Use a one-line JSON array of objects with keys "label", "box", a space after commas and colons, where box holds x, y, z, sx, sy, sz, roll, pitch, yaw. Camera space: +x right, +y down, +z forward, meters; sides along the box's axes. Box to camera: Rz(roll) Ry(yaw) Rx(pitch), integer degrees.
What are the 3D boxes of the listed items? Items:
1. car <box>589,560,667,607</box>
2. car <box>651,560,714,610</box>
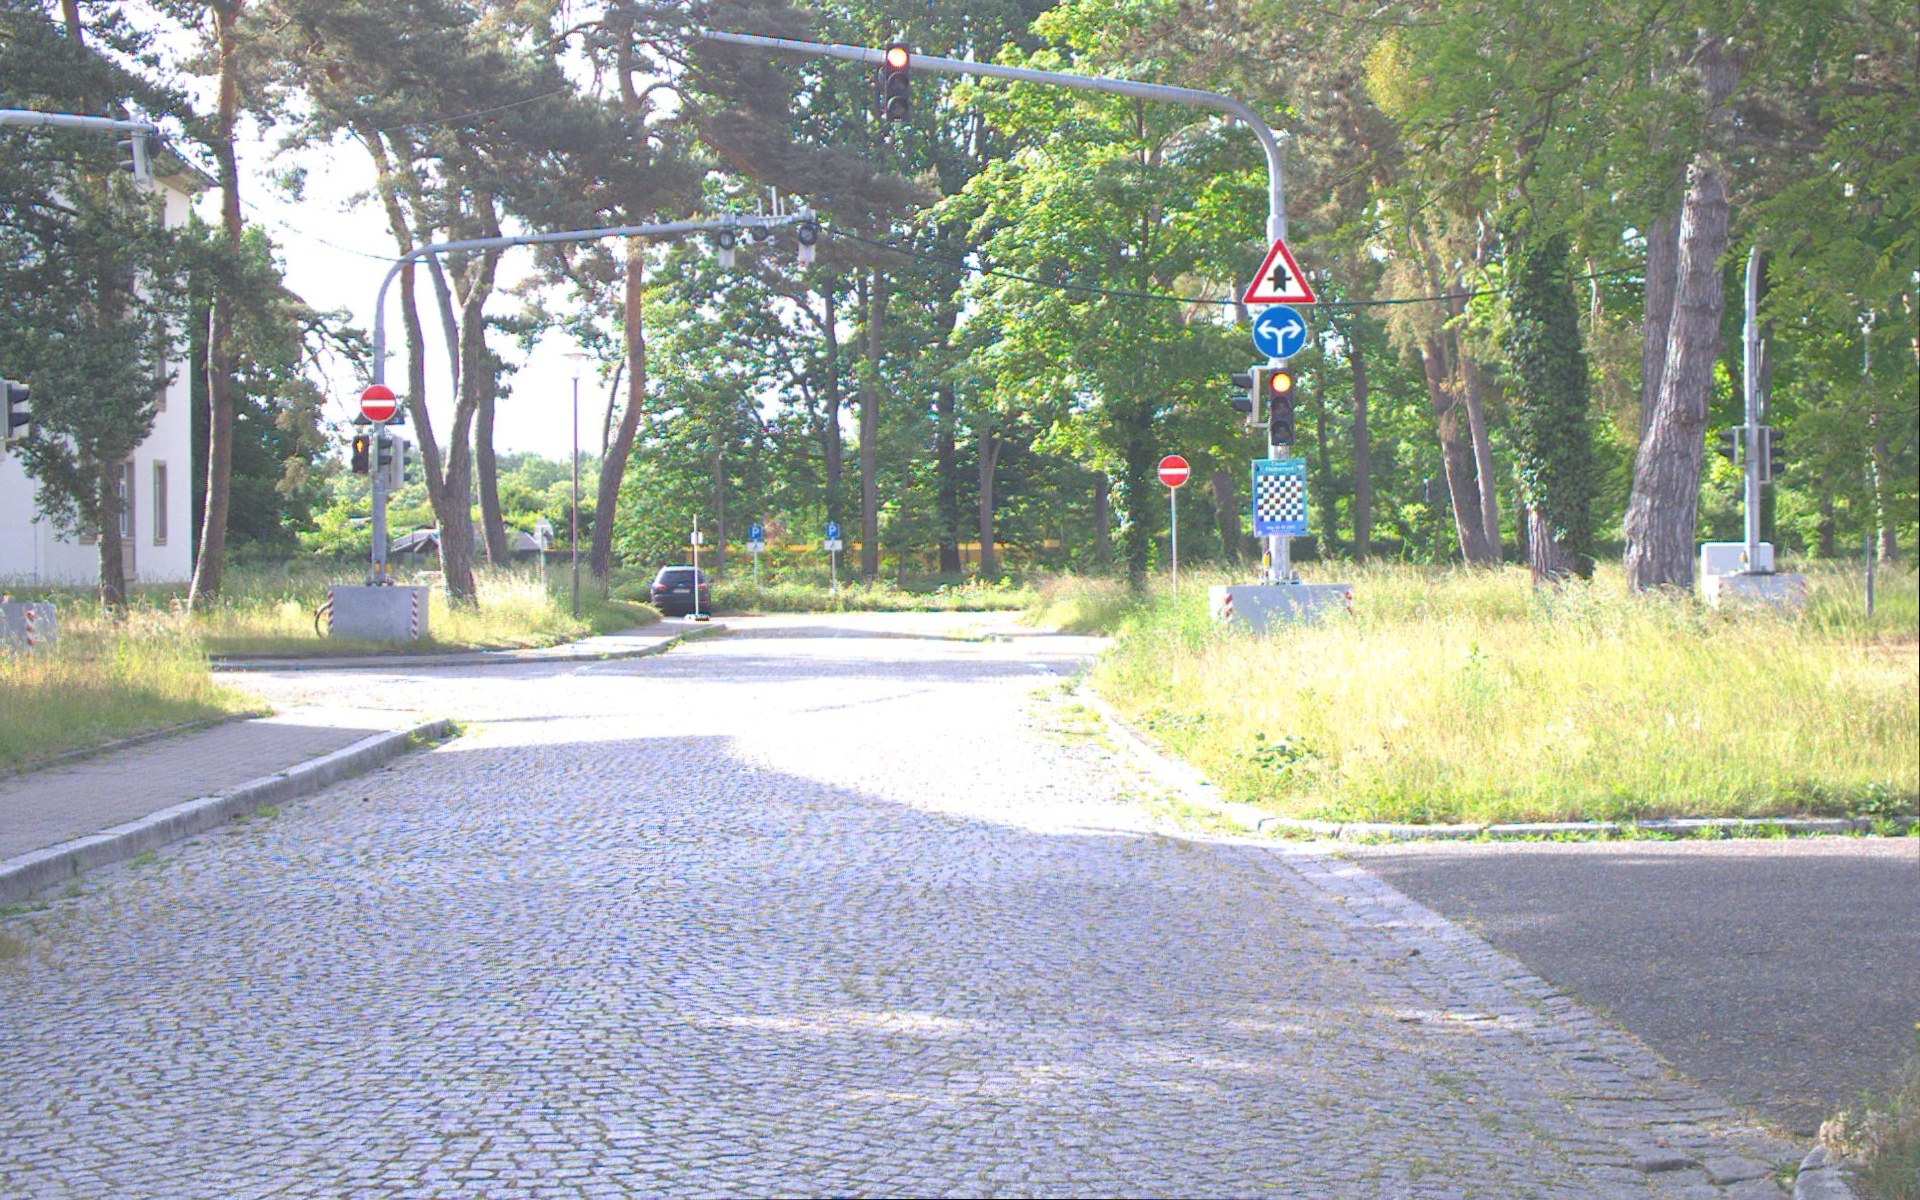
[{"label": "car", "box": [-10.669, -0.546, 110.658, 1.783, 1.485, 3.754, 0, 1, 6]}, {"label": "car", "box": [-8.539, -0.479, 105.933, 1.844, 1.481, 4.001, 0, 1, -4]}]
